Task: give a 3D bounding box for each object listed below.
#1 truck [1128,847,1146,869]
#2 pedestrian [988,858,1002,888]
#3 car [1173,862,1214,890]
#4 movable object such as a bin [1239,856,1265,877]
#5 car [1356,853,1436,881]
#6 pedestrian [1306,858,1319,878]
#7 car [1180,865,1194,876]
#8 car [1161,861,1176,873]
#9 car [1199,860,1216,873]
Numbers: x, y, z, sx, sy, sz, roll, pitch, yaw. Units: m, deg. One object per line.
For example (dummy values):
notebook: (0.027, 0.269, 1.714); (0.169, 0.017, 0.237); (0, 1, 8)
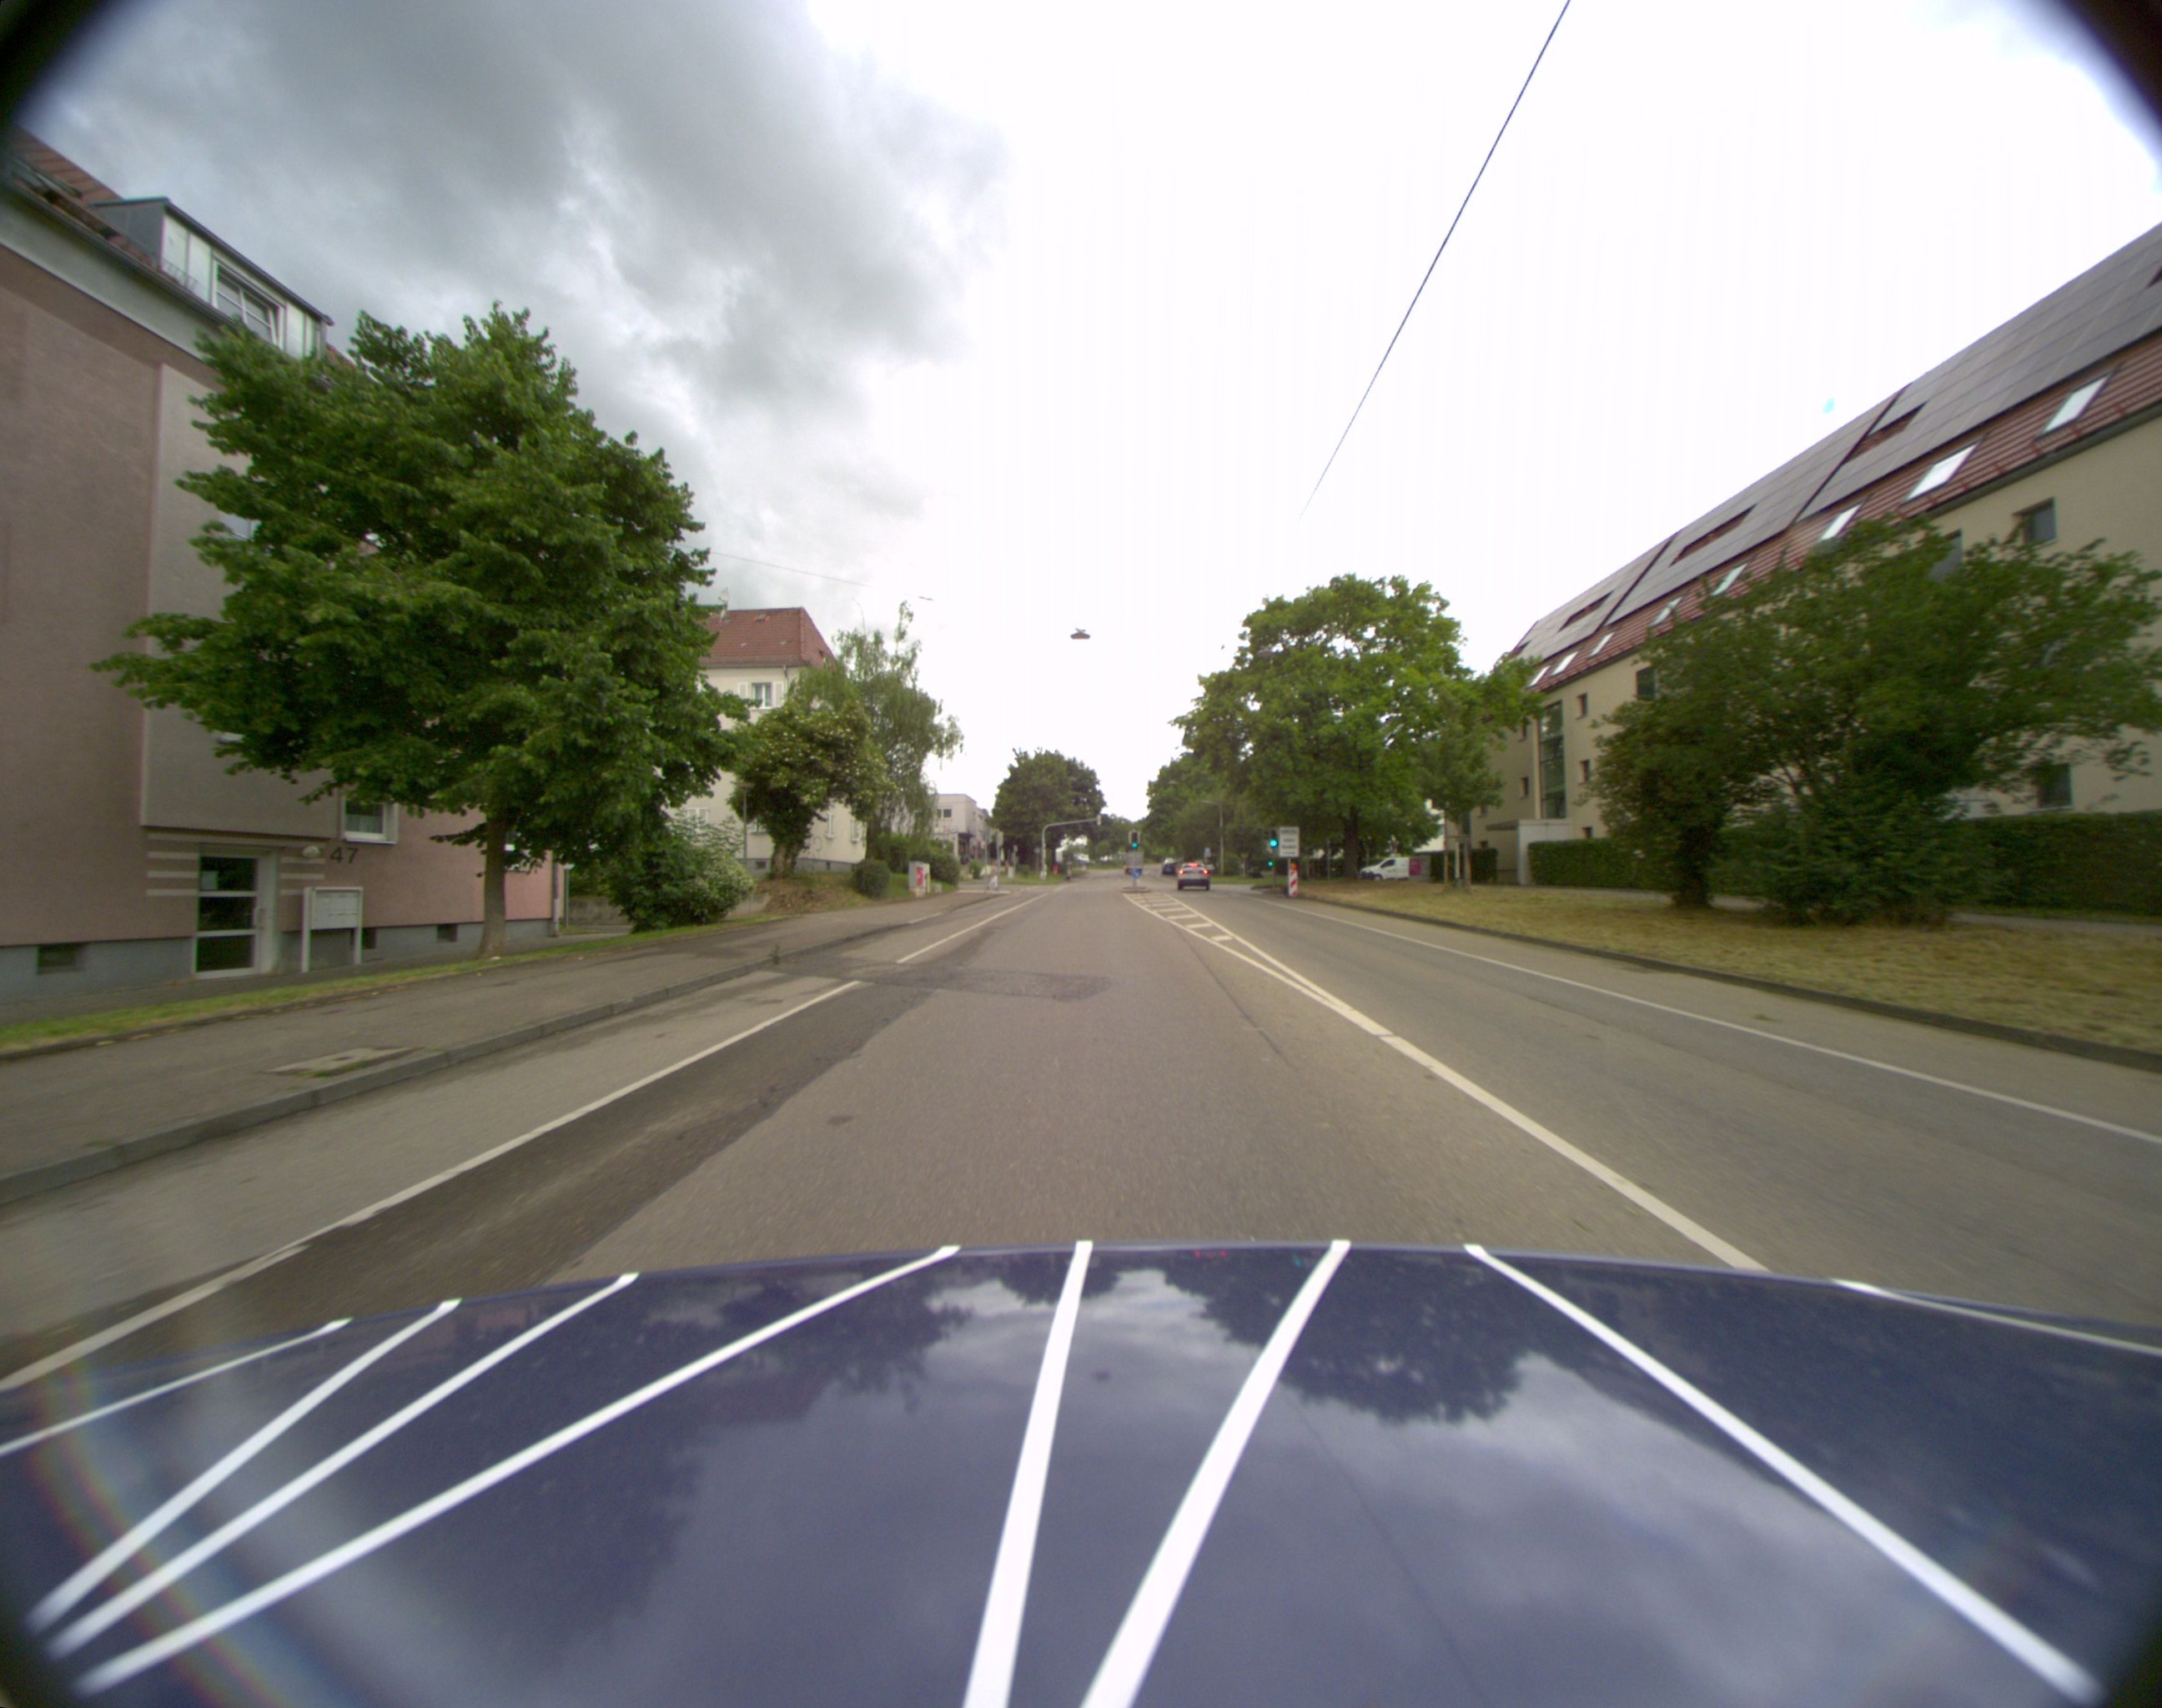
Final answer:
truck: (8.362, 0.585, 113.407); (2.371, 3.218, 7.218); (0, 0, 2)
pedestrian: (-4.874, 1.067, 42.948); (0.658, 1.674, 0.575); (1, -2, 3)
car: (6.246, 1.202, 42.676); (1.806, 1.455, 4.030); (0, 0, 2)
movable object such as a bin: (15.973, 1.190, 71.171); (1.099, 1.892, 3.247); (-1, 0, -12)
car: (23.545, 0.964, 56.999); (5.152, 1.906, 2.000); (-1, 0, 3)
pedestrian: (20.286, 1.243, 66.491); (0.778, 1.746, 0.689); (-1, 0, -29)
car: (13.910, 2.120, 99.837); (1.604, 1.346, 4.001); (-1, 0, 4)
car: (12.684, 1.911, 110.108); (1.997, 1.674, 4.003); (-1, 0, 8)
car: (16.495, 1.574, 99.160); (1.860, 1.596, 4.001); (-2, 0, 4)
